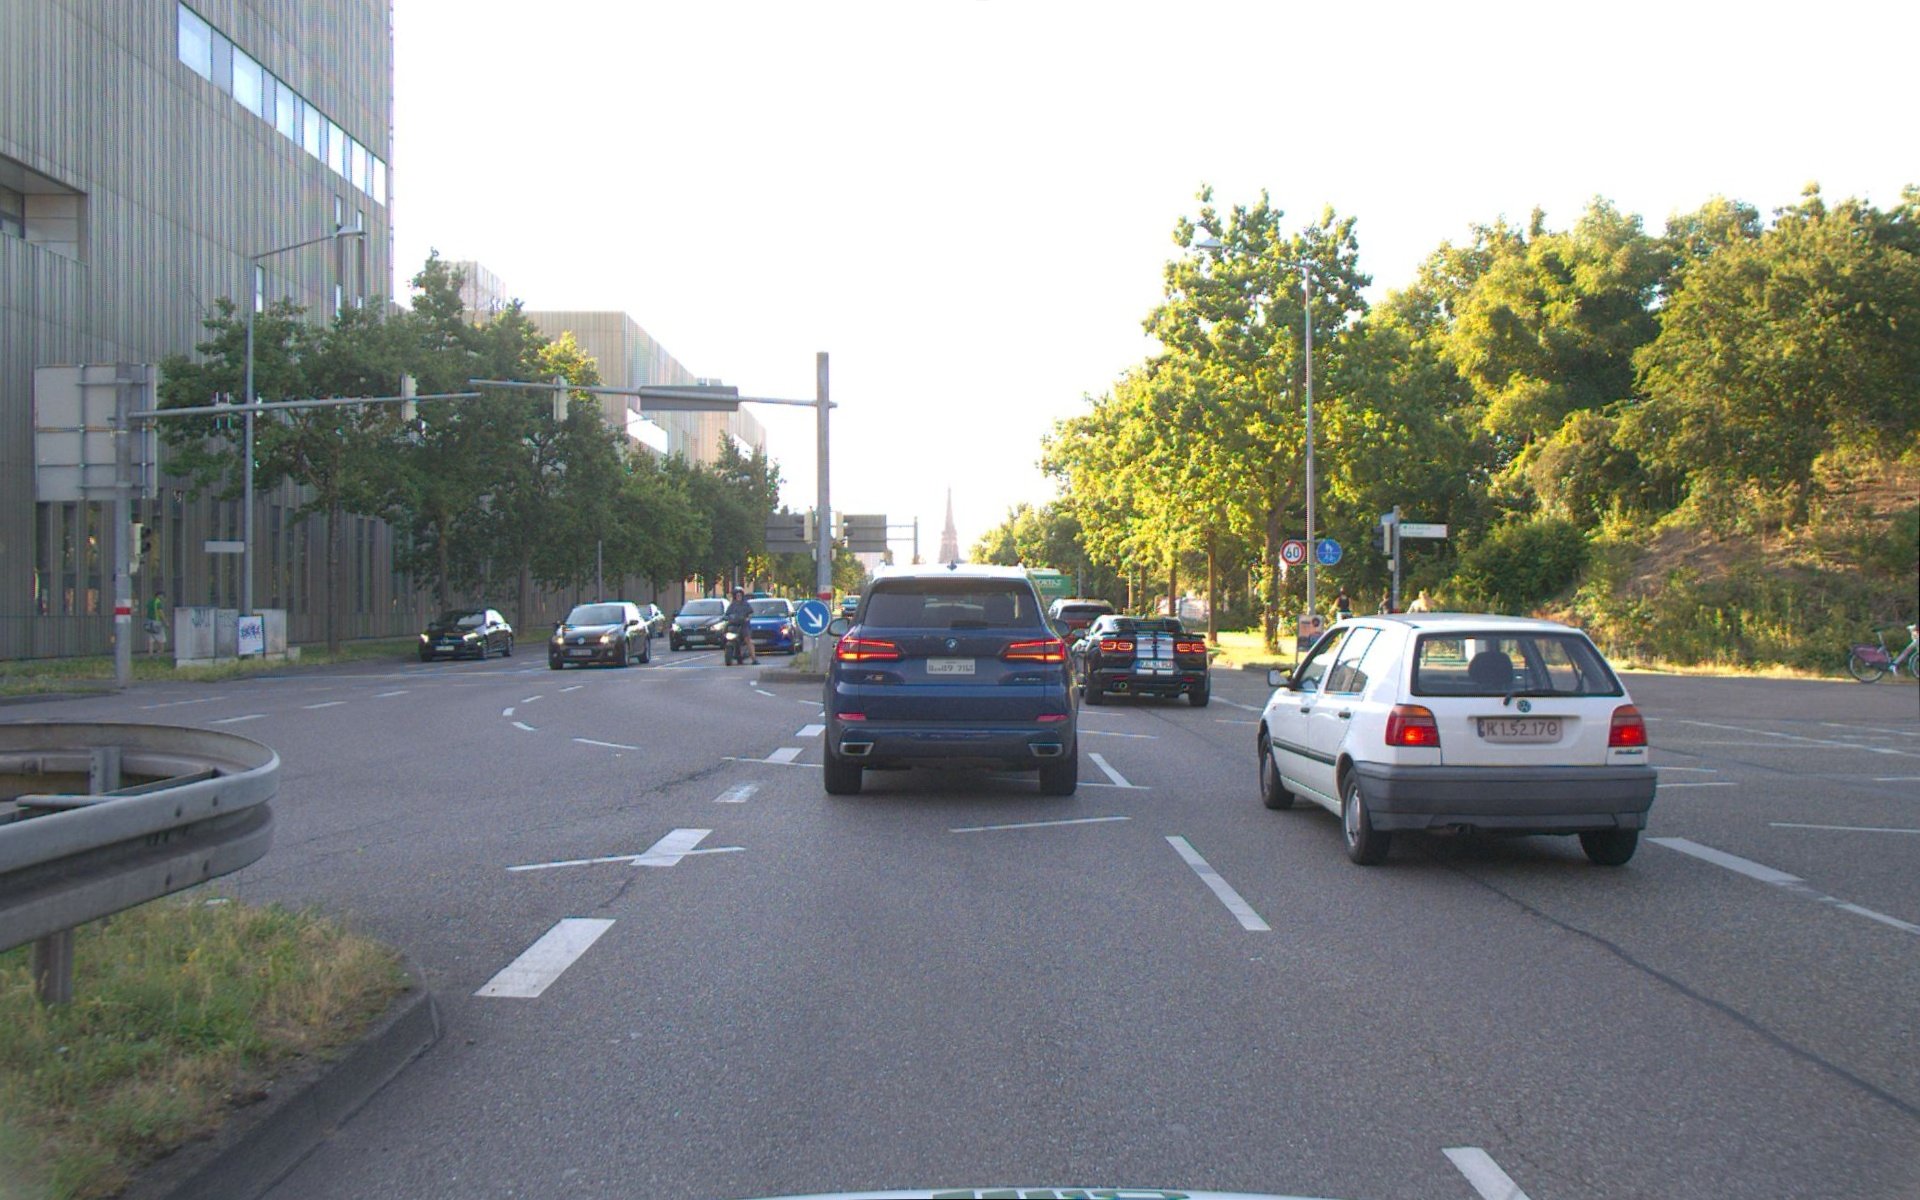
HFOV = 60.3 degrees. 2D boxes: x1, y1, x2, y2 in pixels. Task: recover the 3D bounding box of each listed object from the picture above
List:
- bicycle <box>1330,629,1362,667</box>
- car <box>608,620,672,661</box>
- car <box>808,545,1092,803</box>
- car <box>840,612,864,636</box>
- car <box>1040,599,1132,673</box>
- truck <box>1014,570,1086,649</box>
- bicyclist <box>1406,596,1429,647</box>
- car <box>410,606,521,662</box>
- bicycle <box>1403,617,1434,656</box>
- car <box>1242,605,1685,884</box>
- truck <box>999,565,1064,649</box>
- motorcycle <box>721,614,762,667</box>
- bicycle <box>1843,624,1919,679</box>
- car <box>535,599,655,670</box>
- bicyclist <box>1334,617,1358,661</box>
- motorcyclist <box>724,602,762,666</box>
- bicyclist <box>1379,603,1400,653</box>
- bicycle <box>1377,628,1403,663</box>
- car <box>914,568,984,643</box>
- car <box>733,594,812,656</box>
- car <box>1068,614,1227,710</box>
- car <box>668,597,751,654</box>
[{"bbox_3d":[11.854,1.469,50.814,0.553,1.132,1.621,1,-1,0],"label":"bicycle"},{"bbox_3d":[-14.104,1.791,73.159,1.954,1.619,4.713,-3,-1,-2],"label":"car"},{"bbox_3d":[-0.080,0.568,13.887,1.953,1.764,4.531,1,-1,0],"label":"car"},{"bbox_3d":[-8.937,1.994,137.462,1.721,1.808,4.492,-4,-1,-2],"label":"car"},{"bbox_3d":[2.865,0.835,38.353,1.759,1.586,3.999,1,-1,0],"label":"car"},{"bbox_3d":[2.789,0.330,51.974,1.955,2.356,3.999,1,-1,0],"label":"truck"},{"bbox_3d":[11.201,0.528,40.540,0.419,1.254,0.460,0,-1,0],"label":"bicyclist"},{"bbox_3d":[-14.171,0.967,47.636,1.954,1.425,4.347,-3,-1,-2],"label":"car"},{"bbox_3d":[11.195,0.892,40.418,0.428,0.930,1.026,-1,-1,0],"label":"bicycle"},{"bbox_3d":[3.012,0.804,10.766,1.546,1.438,4.061,1,-1,-1],"label":"car"},{"bbox_3d":[2.416,0.269,56.801,1.955,2.715,3.999,1,-1,0],"label":"truck"},{"bbox_3d":[-4.885,0.898,37.057,0.824,1.094,2.397,-2,0,-7],"label":"motorcycle"},{"bbox_3d":[17.882,0.989,31.684,1.627,1.008,0.578,-1,2,16],"label":"bicycle"},{"bbox_3d":[-8.414,0.795,38.472,1.953,1.501,4.079,2,-1,-2],"label":"car"},{"bbox_3d":[11.858,1.189,50.844,0.532,1.339,0.835,1,-1,-1],"label":"bicyclist"},{"bbox_3d":[-4.869,0.756,37.145,0.782,1.373,1.272,-2,1,-7],"label":"motorcyclist"},{"bbox_3d":[11.723,0.760,45.139,0.419,1.332,0.460,1,-1,0],"label":"bicyclist"},{"bbox_3d":[11.716,1.228,45.110,0.428,0.930,1.026,1,-1,0],"label":"bicycle"},{"bbox_3d":[-0.459,0.239,61.130,2.095,2.621,5.081,2,-1,-5],"label":"car"},{"bbox_3d":[-4.981,0.679,44.327,1.668,1.477,3.856,-4,-1,-1],"label":"car"},{"bbox_3d":[2.792,0.919,25.505,1.953,1.317,3.999,1,-1,0],"label":"car"},{"bbox_3d":[-7.898,0.821,52.550,1.954,1.619,4.713,-3,-1,-2],"label":"car"}]
